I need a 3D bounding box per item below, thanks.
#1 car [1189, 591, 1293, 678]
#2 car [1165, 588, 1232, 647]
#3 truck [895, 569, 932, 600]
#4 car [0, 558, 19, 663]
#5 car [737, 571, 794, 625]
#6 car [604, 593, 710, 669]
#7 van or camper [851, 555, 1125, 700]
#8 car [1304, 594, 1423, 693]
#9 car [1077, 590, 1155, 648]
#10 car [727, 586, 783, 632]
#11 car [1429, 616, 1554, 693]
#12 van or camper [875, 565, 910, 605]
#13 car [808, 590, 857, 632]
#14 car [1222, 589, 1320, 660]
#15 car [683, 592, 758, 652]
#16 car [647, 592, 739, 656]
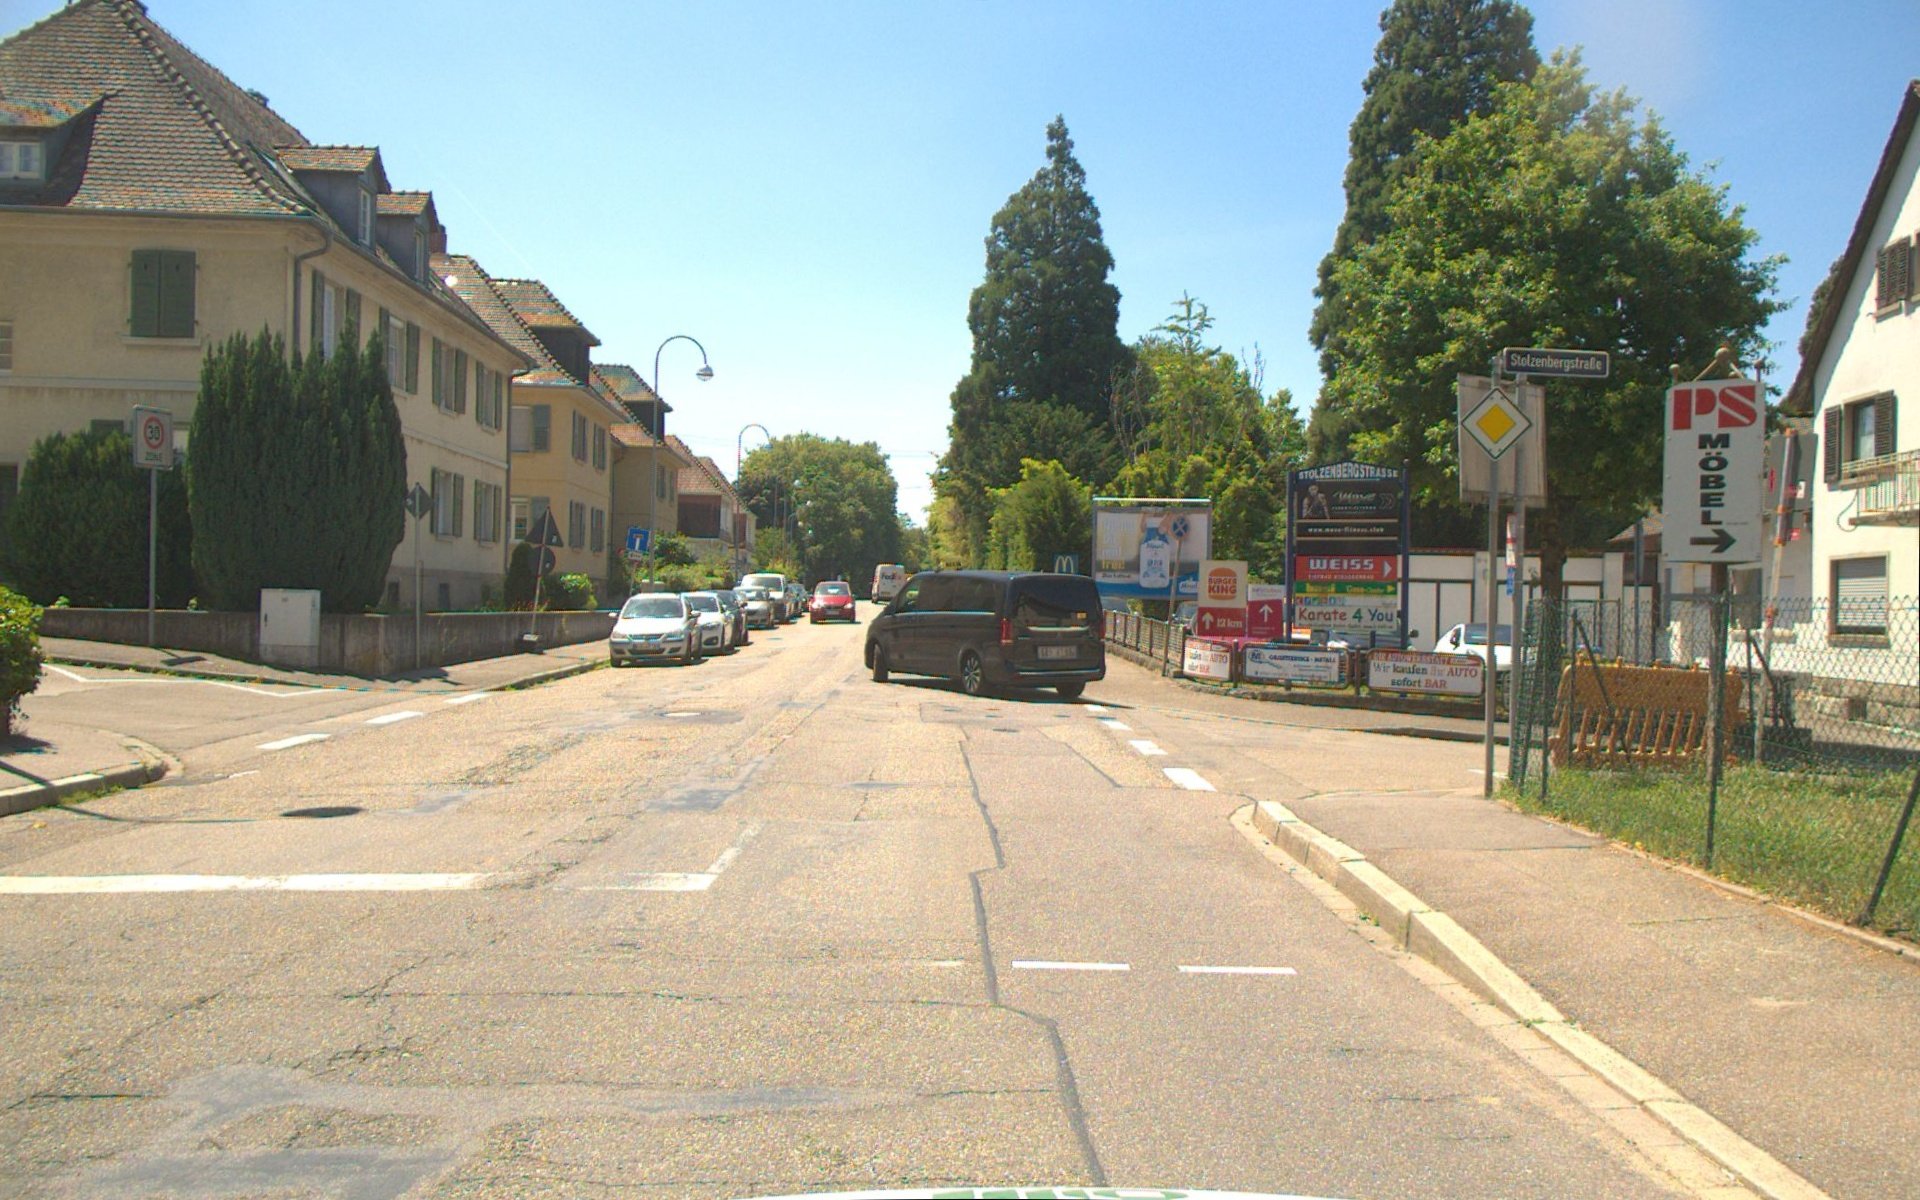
[{"bbox_3d":[5.386,0.619,32.080,1.675,1.550,3.842,1,0,5],"label":"car"},{"bbox_3d":[7.008,0.503,48.830,1.597,1.570,3.394,5,0,4],"label":"car"},{"bbox_3d":[-3.646,-1.183,128.201,2.311,2.298,6.083,1,0,-6],"label":"truck"},{"bbox_3d":[-15.173,0.000,22.940,3.136,1.482,1.736,5,-1,4],"label":"car"},{"bbox_3d":[-7.561,-0.108,64.624,1.840,1.997,4.623,-2,1,-3],"label":"car"},{"bbox_3d":[-6.290,0.612,34.720,1.724,1.473,3.921,-1,0,-4],"label":"car"},{"bbox_3d":[0.295,0.359,26.202,1.883,2.049,5.216,2,0,-30],"label":"van or camper"},{"bbox_3d":[7.675,0.770,31.785,1.675,1.694,4.463,3,0,7],"label":"car"},{"bbox_3d":[4.532,0.524,48.429,1.600,1.484,3.553,5,0,-5],"label":"car"},{"bbox_3d":[-7.213,0.291,58.463,1.653,1.552,4.060,1,1,-3],"label":"car"},{"bbox_3d":[9.985,0.988,31.294,1.675,1.292,3.387,2,0,8],"label":"car"},{"bbox_3d":[-4.513,-0.982,109.794,2.218,2.572,4.756,-1,0,-4],"label":"van or camper"},{"bbox_3d":[-5.002,0.422,65.222,1.778,1.593,3.695,0,0,-2],"label":"car"},{"bbox_3d":[9.008,0.673,48.202,1.740,1.831,4.163,5,0,-3],"label":"car"},{"bbox_3d":[-6.443,0.556,44.850,1.682,1.511,4.073,-1,0,-4],"label":"car"},{"bbox_3d":[-6.326,0.528,39.611,1.759,1.426,4.216,-1,0,-4],"label":"car"}]
